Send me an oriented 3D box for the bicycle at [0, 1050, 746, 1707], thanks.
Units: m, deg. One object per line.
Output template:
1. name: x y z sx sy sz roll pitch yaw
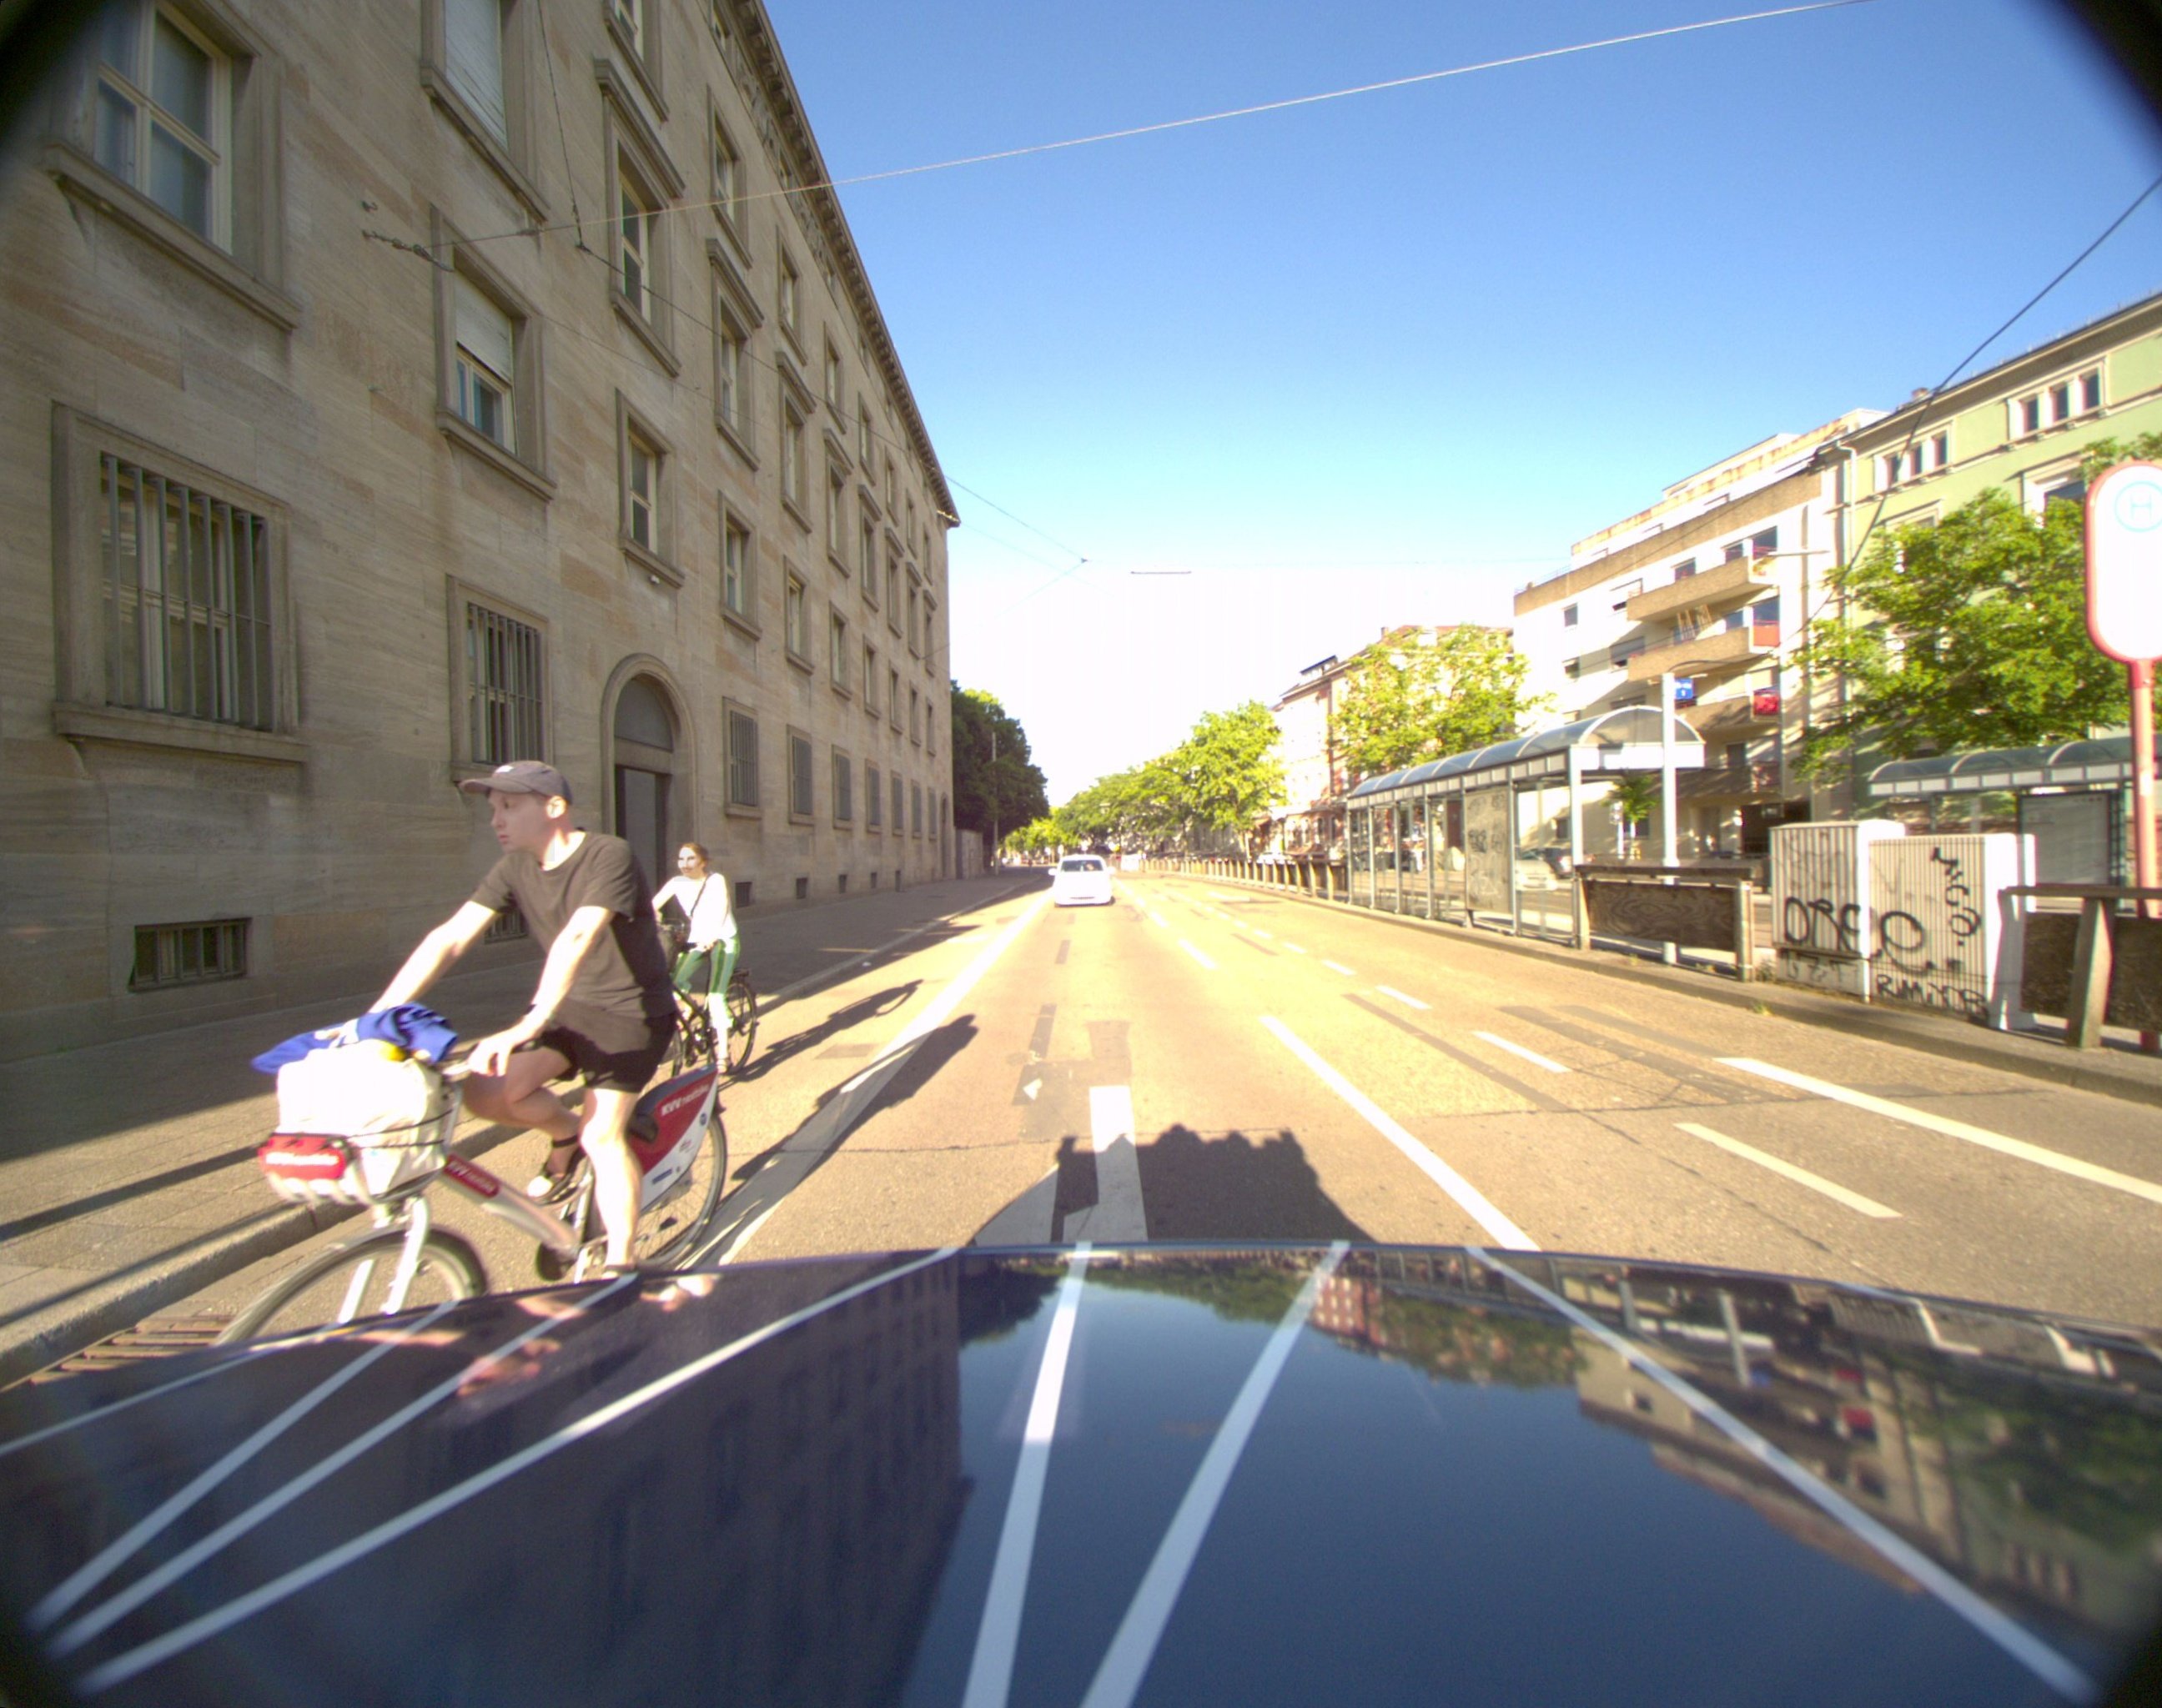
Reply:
1. bicycle: -1.814 1.318 2.360 0.390 0.900 1.952 -1 0 9

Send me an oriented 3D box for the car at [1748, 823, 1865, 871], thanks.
1. car: 31.629 -0.317 33.166 4.001 2.002 1.798 -1 1 -13

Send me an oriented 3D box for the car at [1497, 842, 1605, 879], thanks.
1. car: 20.957 0.283 34.081 2.000 1.521 3.997 -1 0 -8

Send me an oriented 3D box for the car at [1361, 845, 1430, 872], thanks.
1. car: 18.430 0.255 44.702 2.000 1.521 3.997 -1 0 -8

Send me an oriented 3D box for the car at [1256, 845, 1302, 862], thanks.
1. car: 16.487 -0.037 63.277 3.648 1.342 1.578 -2 1 -29

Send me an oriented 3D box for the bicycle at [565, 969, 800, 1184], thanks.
1. bicycle: -2.519 1.354 5.089 0.427 0.871 1.951 -1 0 4

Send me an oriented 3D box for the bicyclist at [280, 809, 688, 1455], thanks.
1. bicyclist: -1.732 0.722 2.309 0.671 1.668 0.657 -1 1 5

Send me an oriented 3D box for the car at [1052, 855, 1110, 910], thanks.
1. car: 0.021 0.789 22.937 1.571 1.455 3.687 -2 0 1

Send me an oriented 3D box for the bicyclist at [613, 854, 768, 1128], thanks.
1. bicyclist: -2.565 0.844 5.080 0.523 1.670 0.859 -1 1 3
